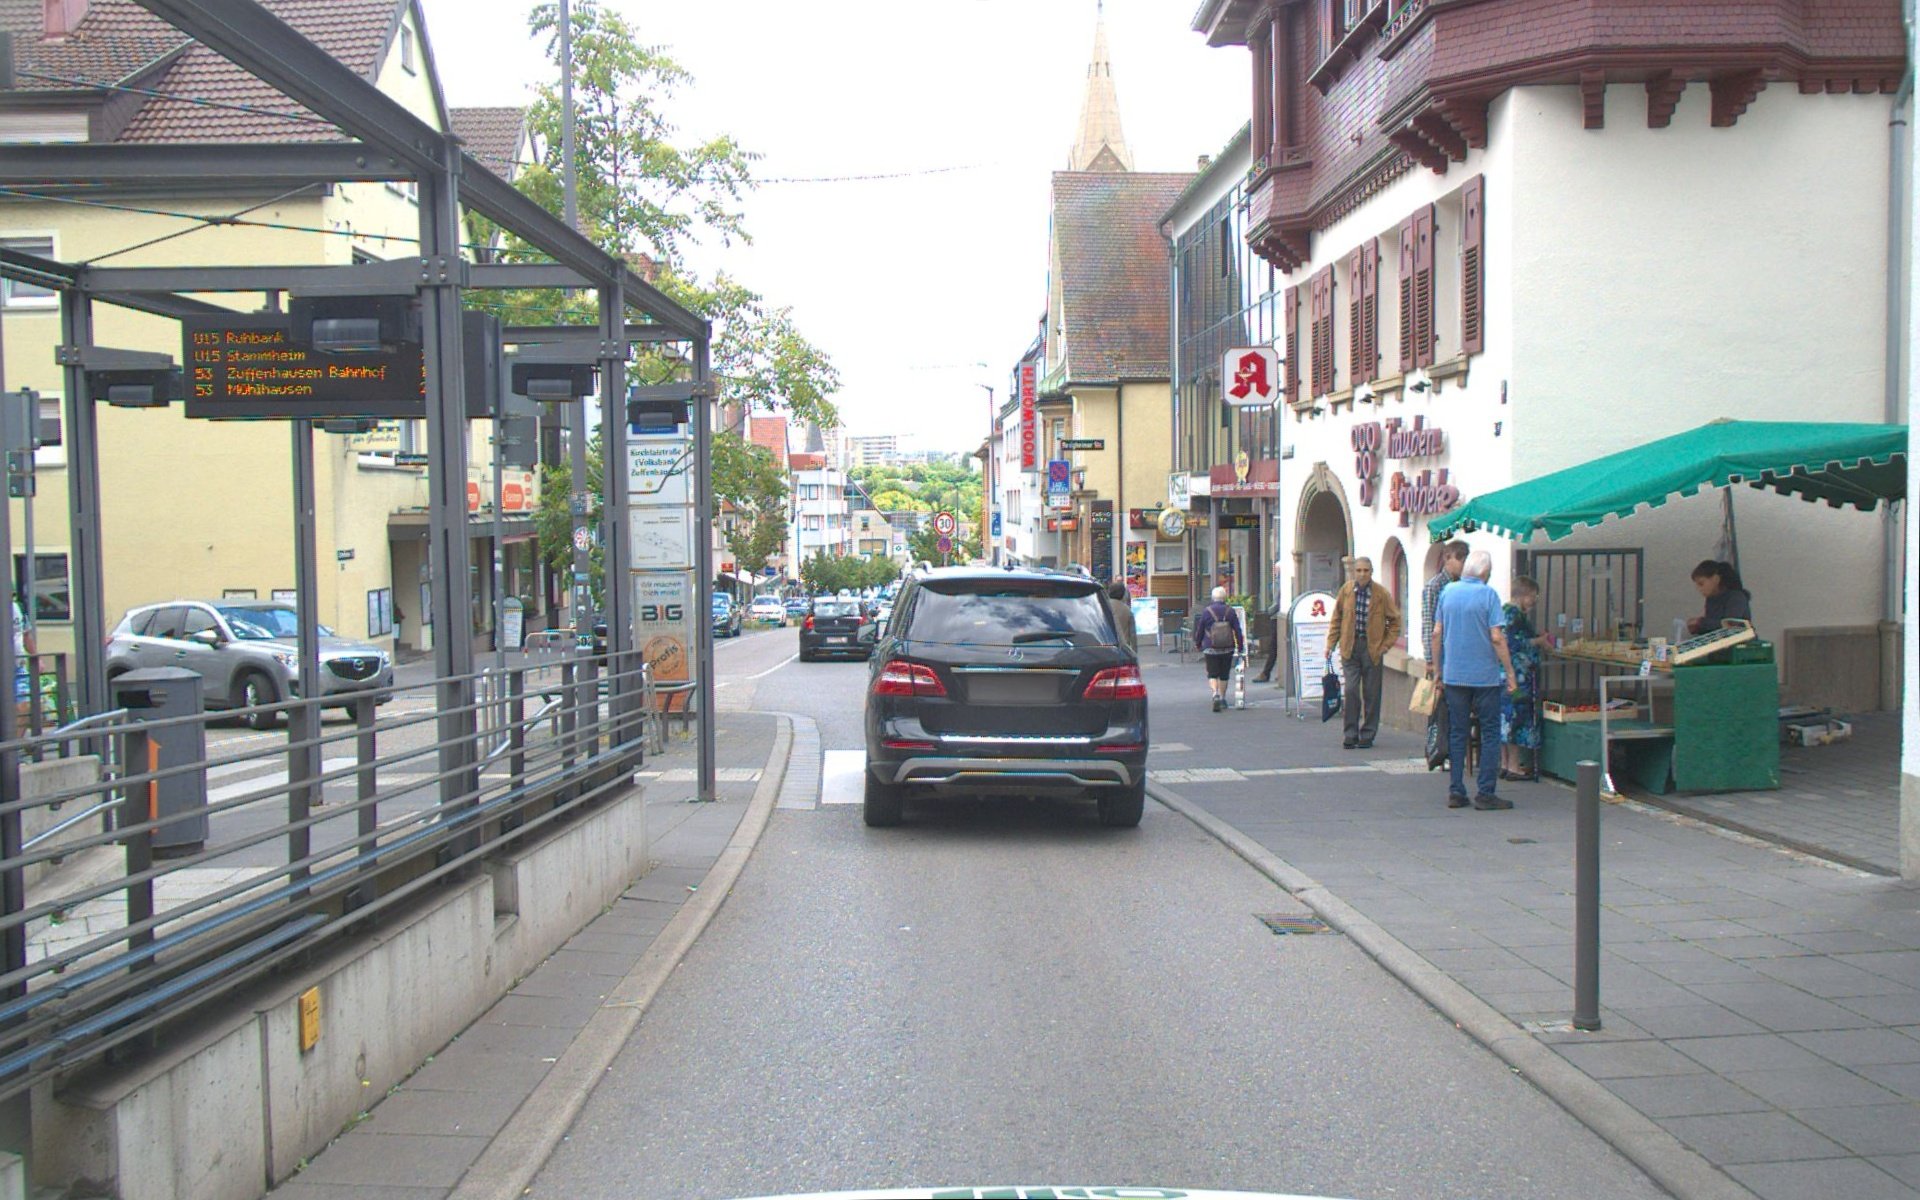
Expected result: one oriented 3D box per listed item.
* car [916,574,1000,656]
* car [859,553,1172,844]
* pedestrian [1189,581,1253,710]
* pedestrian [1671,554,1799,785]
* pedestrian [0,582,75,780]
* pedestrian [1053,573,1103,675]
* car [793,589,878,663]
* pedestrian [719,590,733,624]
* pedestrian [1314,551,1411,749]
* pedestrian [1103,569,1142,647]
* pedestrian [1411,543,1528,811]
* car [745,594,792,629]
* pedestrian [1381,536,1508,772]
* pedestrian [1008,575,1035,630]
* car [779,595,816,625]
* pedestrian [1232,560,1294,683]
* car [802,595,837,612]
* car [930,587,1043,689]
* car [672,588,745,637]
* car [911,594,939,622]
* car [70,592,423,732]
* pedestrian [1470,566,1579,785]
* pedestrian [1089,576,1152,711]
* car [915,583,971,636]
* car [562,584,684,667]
[{"bbox_3d":[0.021,0.312,39.648,1.838,1.831,4.733,-1,0,2],"label":"car"},{"bbox_3d":[0.308,0.594,12.259,1.904,1.770,4.178,1,0,-1],"label":"car"},{"bbox_3d":[3.238,0.555,20.570,0.709,1.558,0.808,-1,0,4],"label":"pedestrian"},{"bbox_3d":[5.668,0.493,12.130,0.610,1.641,0.703,-1,0,4],"label":"pedestrian"},{"bbox_3d":[-9.208,0.750,15.771,0.897,1.819,0.988,-1,0,15],"label":"pedestrian"},{"bbox_3d":[1.998,0.402,28.010,0.806,1.695,0.802,-1,0,4],"label":"pedestrian"},{"bbox_3d":[-2.816,0.557,38.028,1.749,1.567,3.743,-1,0,-1],"label":"car"},{"bbox_3d":[-10.306,0.305,72.849,0.480,1.489,0.559,-1,0,7],"label":"pedestrian"},{"bbox_3d":[3.817,0.465,15.738,0.769,1.833,0.676,-1,0,4],"label":"pedestrian"},{"bbox_3d":[3.696,0.186,37.706,0.845,1.737,0.945,-1,0,4],"label":"pedestrian"},{"bbox_3d":[3.549,0.517,11.503,0.686,1.797,0.625,-1,0,24],"label":"pedestrian"},{"bbox_3d":[-9.063,0.517,78.397,1.888,1.538,4.260,1,0,-3],"label":"car"},{"bbox_3d":[4.039,0.430,13.789,0.766,1.889,0.699,-1,0,41],"label":"pedestrian"},{"bbox_3d":[2.010,0.067,54.041,0.780,1.757,1.052,-1,0,-1],"label":"pedestrian"},{"bbox_3d":[-9.376,0.601,95.654,1.888,1.650,4.637,1,-1,-3],"label":"car"},{"bbox_3d":[4.547,0.316,24.830,0.758,1.800,0.817,-1,0,0],"label":"pedestrian"},{"bbox_3d":[-16.294,0.394,191.910,3.910,1.780,1.998,-3,0,-6],"label":"car"},{"bbox_3d":[0.387,0.586,28.241,1.766,1.582,3.953,-1,0,-1],"label":"car"},{"bbox_3d":[-8.410,0.385,55.697,1.888,1.518,4.840,1,0,-3],"label":"car"},{"bbox_3d":[-2.621,0.594,123.234,1.899,1.924,4.705,-3,0,-2],"label":"car"},{"bbox_3d":[-9.542,0.813,22.107,4.254,1.649,1.969,-2,2,25],"label":"car"},{"bbox_3d":[4.346,0.566,12.764,0.610,1.641,0.703,-1,0,4],"label":"pedestrian"},{"bbox_3d":[2.031,0.541,20.998,0.756,1.674,0.870,-1,0,4],"label":"pedestrian"},{"bbox_3d":[-0.573,0.294,55.239,1.713,1.636,3.799,-2,0,-1],"label":"car"},{"bbox_3d":[-7.670,0.533,38.063,1.966,1.723,4.606,1,1,-2],"label":"car"}]
